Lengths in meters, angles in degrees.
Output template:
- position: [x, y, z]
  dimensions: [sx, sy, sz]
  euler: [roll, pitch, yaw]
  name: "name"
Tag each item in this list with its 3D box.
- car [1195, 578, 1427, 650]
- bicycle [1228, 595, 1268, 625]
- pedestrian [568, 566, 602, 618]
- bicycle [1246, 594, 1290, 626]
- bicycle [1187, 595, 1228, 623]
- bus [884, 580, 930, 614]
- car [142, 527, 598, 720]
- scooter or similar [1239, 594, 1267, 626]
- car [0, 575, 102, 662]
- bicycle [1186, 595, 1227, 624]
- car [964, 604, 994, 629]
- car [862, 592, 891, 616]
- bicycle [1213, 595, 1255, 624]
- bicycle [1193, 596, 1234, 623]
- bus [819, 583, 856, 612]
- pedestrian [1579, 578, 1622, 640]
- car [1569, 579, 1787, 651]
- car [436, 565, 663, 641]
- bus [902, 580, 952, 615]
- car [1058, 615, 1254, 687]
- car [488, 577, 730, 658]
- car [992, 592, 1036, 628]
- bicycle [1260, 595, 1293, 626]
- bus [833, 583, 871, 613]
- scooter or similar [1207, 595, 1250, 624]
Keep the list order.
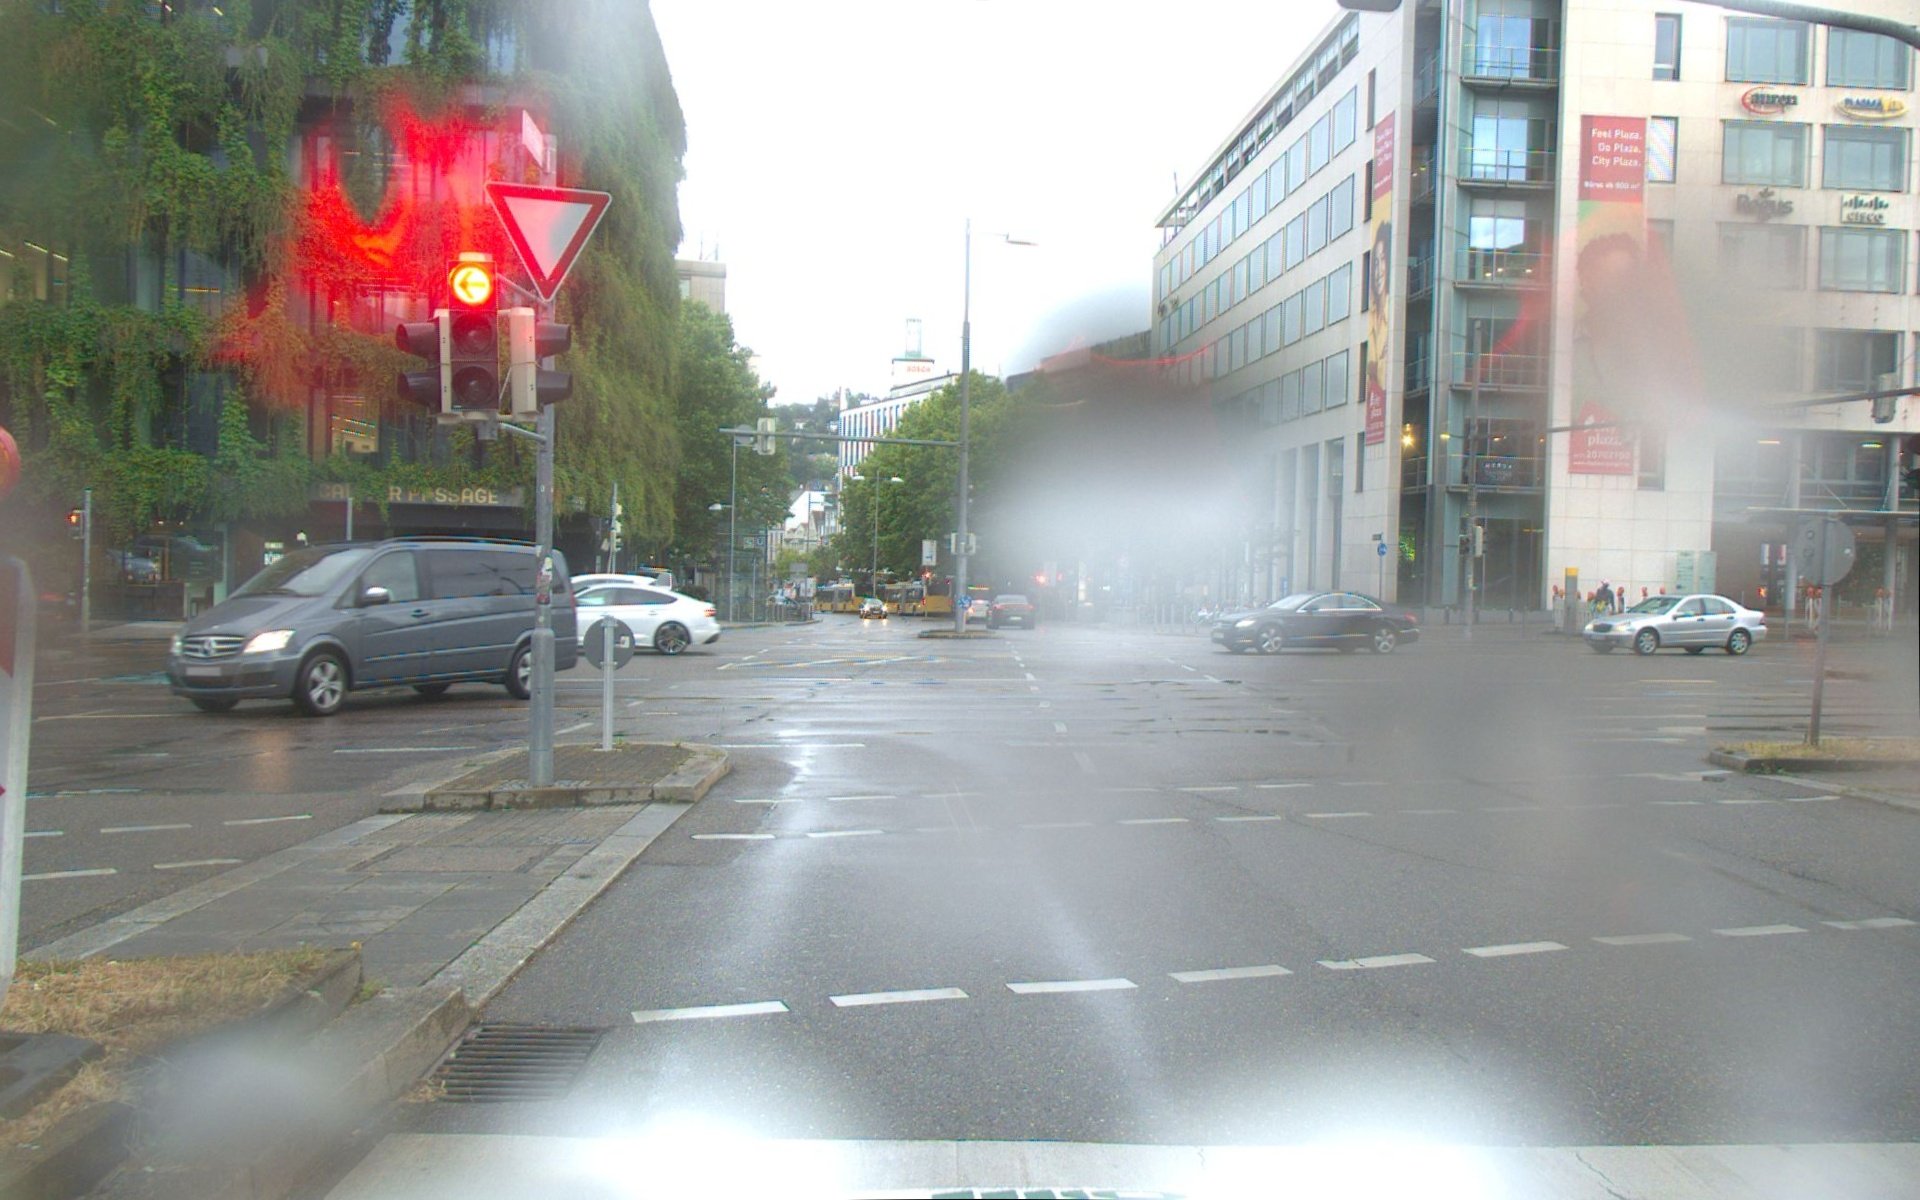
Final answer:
- position: [7.918, 0.350, 37.417]
  dimensions: [4.766, 1.503, 1.992]
  euler: [1, -2, -15]
  name: "car"
- position: [11.585, 0.398, 66.561]
  dimensions: [0.578, 1.215, 1.766]
  euler: [1, 0, -28]
  name: "bicycle"
- position: [-12.179, -0.261, 53.722]
  dimensions: [0.915, 1.673, 0.774]
  euler: [1, -1, -1]
  name: "pedestrian"
- position: [12.122, 0.401, 65.017]
  dimensions: [1.590, 1.215, 0.586]
  euler: [1, -1, 25]
  name: "bicycle"
- position: [11.005, 0.416, 73.565]
  dimensions: [1.741, 1.215, 0.586]
  euler: [1, -1, 1]
  name: "bicycle"
- position: [-4.969, -0.300, 153.011]
  dimensions: [2.585, 3.048, 7.417]
  euler: [0, 0, -16]
  name: "bus"
- position: [-6.698, 0.189, 19.404]
  dimensions: [1.957, 1.961, 4.954]
  euler: [1, 1, 31]
  name: "car"
- position: [11.386, 0.385, 64.321]
  dimensions: [0.946, 1.215, 0.453]
  euler: [1, -1, 40]
  name: "scooter or similar"
- position: [-19.532, 0.336, 32.502]
  dimensions: [4.328, 1.667, 1.993]
  euler: [1, 0, -14]
  name: "car"
- position: [10.863, 0.411, 72.928]
  dimensions: [1.741, 1.215, 0.586]
  euler: [1, -1, 1]
  name: "bicycle"
- position: [1.203, 1.056, 104.936]
  dimensions: [1.745, 1.534, 3.999]
  euler: [1, 0, -1]
  name: "car"
- position: [-6.405, 0.279, 126.675]
  dimensions: [2.121, 1.796, 5.108]
  euler: [1, 0, -4]
  name: "car"
- position: [11.892, 0.424, 71.775]
  dimensions: [1.741, 1.215, 0.586]
  euler: [1, -1, 1]
  name: "bicycle"
- position: [11.422, 0.427, 74.489]
  dimensions: [1.741, 1.215, 0.586]
  euler: [1, -1, 1]
  name: "bicycle"
- position: [-13.345, -0.327, 180.126]
  dimensions: [2.585, 3.048, 7.417]
  euler: [0, 0, -16]
  name: "bus"
- position: [19.290, 0.271, 49.856]
  dimensions: [0.942, 1.848, 0.836]
  euler: [1, -1, -1]
  name: "pedestrian"
- position: [17.314, 0.390, 39.927]
  dimensions: [4.640, 1.503, 1.991]
  euler: [2, -3, -15]
  name: "car"
- position: [-8.851, 0.078, 35.726]
  dimensions: [4.608, 1.539, 1.802]
  euler: [1, 0, -17]
  name: "car"
- position: [-2.973, -0.232, 145.895]
  dimensions: [2.585, 3.048, 7.417]
  euler: [0, 0, -16]
  name: "bus"
- position: [4.994, 1.293, 42.247]
  dimensions: [4.606, 1.654, 1.803]
  euler: [2, -1, -16]
  name: "car"
- position: [-7.016, 0.314, 33.005]
  dimensions: [4.608, 1.539, 1.802]
  euler: [0, 0, -17]
  name: "car"
- position: [2.349, 0.437, 72.766]
  dimensions: [1.745, 1.534, 3.999]
  euler: [1, 0, -1]
  name: "car"
- position: [12.860, 0.422, 67.137]
  dimensions: [0.575, 1.215, 1.776]
  euler: [1, -1, 37]
  name: "bicycle"
- position: [-11.348, -0.215, 173.060]
  dimensions: [2.585, 3.048, 7.296]
  euler: [0, 0, -16]
  name: "bus"
- position: [11.548, 0.416, 71.147]
  dimensions: [1.741, 1.215, 0.586]
  euler: [1, -1, 1]
  name: "scooter or similar"
